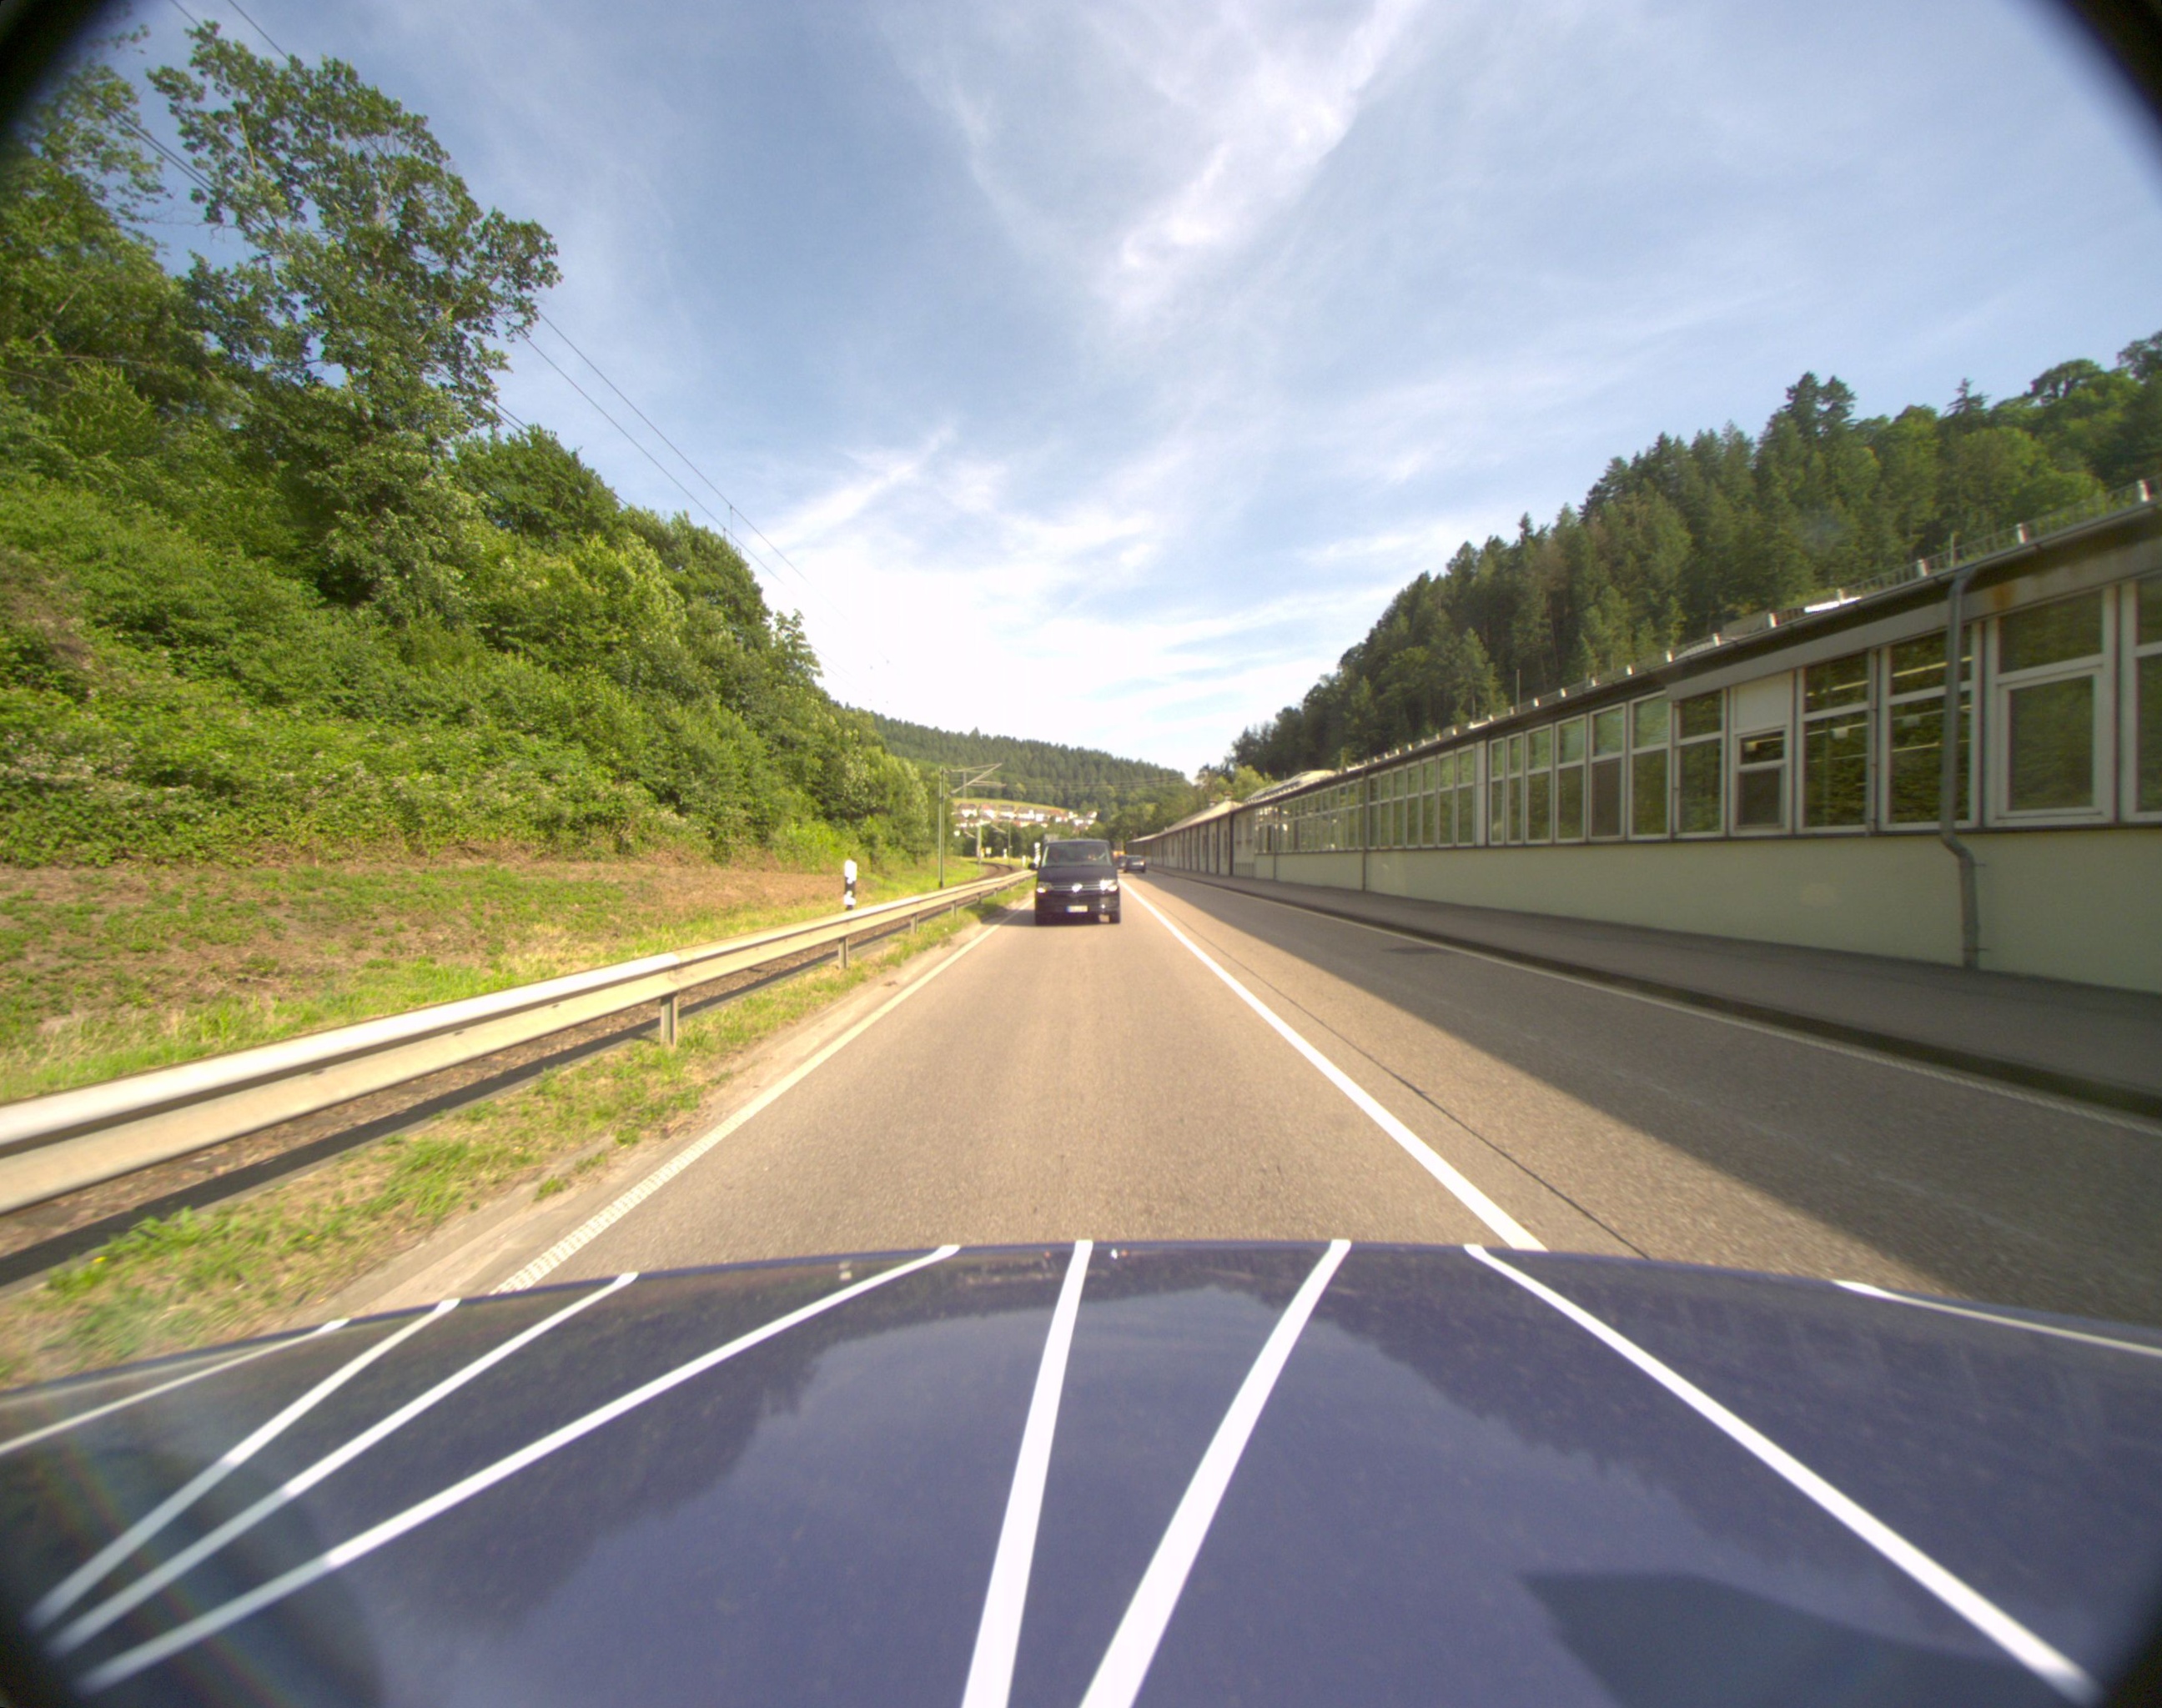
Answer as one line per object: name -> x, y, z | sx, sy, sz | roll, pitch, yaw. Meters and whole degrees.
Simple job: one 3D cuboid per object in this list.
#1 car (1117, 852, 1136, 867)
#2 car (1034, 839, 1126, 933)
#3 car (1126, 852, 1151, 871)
car -> 4.873, 0.588, 81.582 | 1.723, 1.505, 4.198 | -2, 0, 1
car -> -0.112, 0.668, 18.594 | 1.901, 1.927, 5.187 | -1, 0, -2
car -> 4.826, 0.643, 64.352 | 1.778, 1.482, 4.051 | -2, 0, 1
